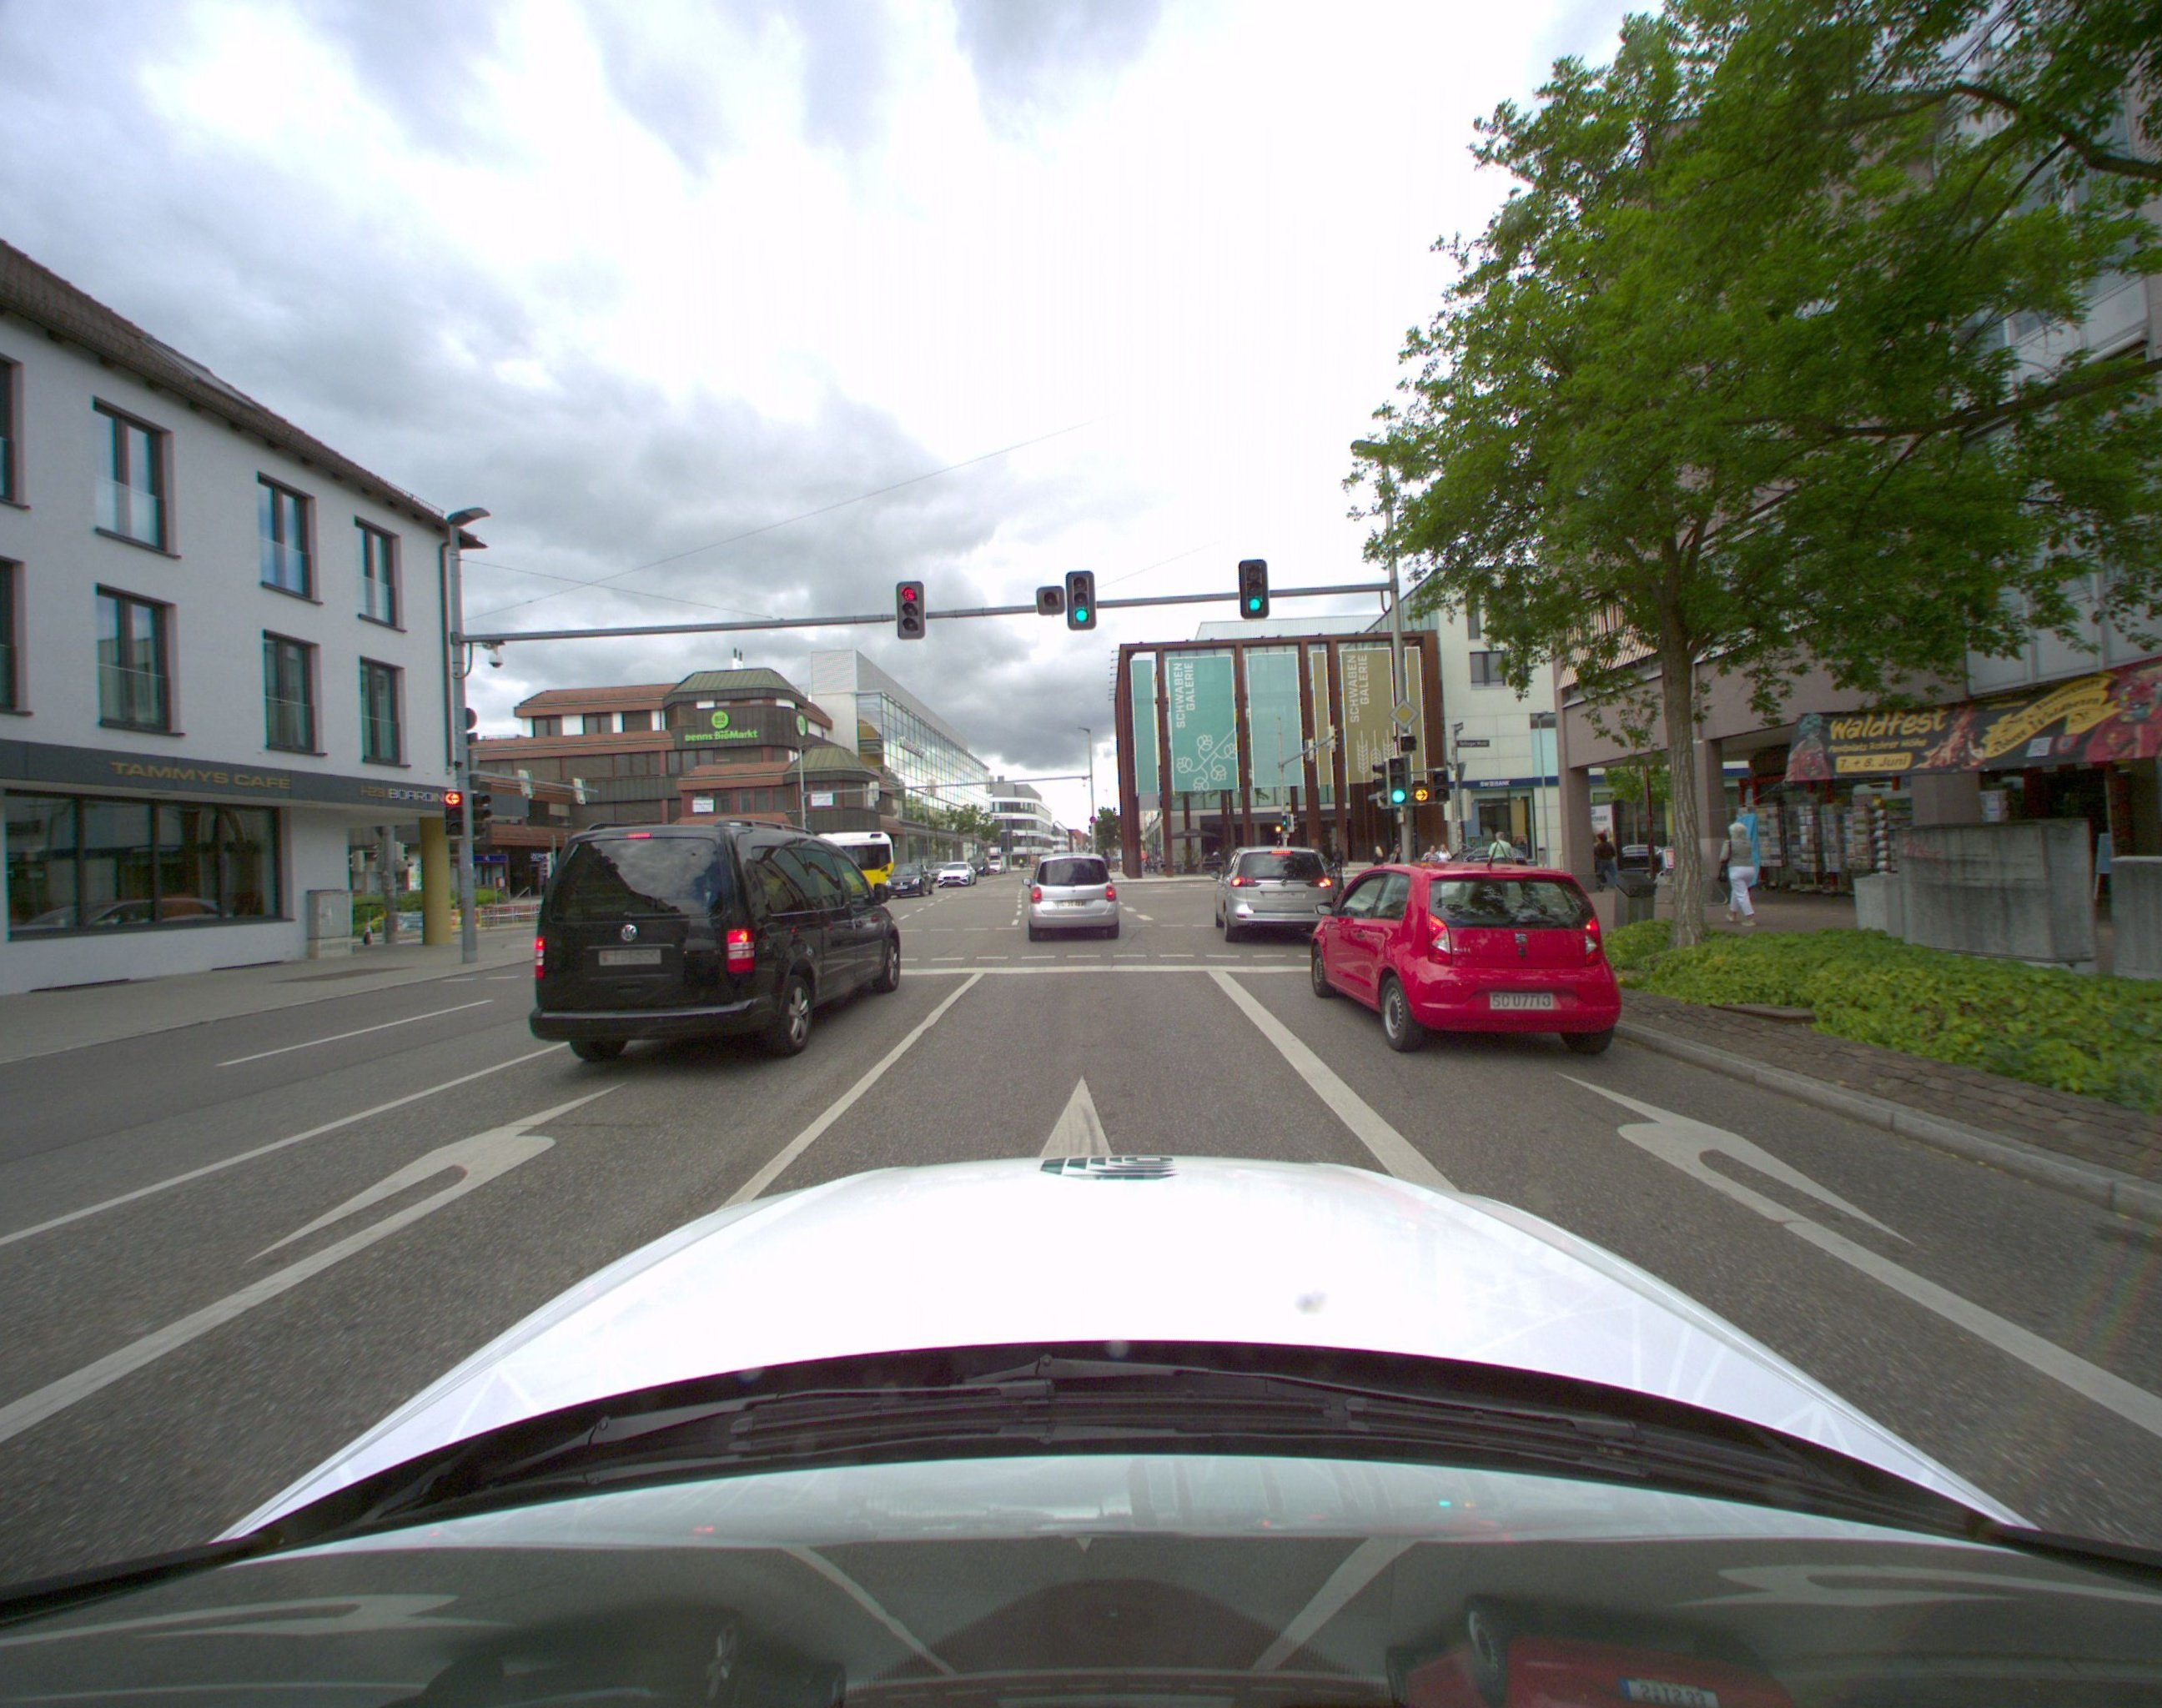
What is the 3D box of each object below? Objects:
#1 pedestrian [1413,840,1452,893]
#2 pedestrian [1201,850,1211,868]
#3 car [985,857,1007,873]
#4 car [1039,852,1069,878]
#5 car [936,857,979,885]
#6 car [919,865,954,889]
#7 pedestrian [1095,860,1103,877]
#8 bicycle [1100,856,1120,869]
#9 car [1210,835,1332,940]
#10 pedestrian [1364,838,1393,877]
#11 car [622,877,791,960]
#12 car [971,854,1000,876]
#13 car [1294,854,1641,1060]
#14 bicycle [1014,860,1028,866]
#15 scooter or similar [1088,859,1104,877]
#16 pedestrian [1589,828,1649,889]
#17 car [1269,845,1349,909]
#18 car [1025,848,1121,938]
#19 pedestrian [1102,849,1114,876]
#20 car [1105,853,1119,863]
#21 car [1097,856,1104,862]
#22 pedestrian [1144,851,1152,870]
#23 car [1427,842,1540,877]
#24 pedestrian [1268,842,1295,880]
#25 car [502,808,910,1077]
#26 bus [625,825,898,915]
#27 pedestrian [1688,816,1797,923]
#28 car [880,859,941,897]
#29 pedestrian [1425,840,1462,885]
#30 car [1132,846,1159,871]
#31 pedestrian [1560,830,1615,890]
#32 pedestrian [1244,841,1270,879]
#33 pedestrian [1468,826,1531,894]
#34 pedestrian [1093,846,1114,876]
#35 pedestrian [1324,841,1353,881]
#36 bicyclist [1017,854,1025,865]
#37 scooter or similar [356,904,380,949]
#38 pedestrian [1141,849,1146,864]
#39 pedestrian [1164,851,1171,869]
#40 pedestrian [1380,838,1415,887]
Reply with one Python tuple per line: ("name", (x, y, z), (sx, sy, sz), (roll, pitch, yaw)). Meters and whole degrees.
("pedestrian", (11.130, 0.386, 25.800), (0.739, 1.626, 0.953), (-3, 0, -2))
("pedestrian", (8.996, 0.355, 58.540), (0.513, 1.208, 0.795), (-2, 1, 0))
("car", (-9.042, 1.151, 87.153), (1.654, 1.465, 4.002), (-3, 0, 2))
("car", (-1.666, 0.663, 51.138), (1.663, 1.554, 3.644), (0, 0, 2))
("car", (-7.244, 0.956, 48.175), (1.737, 1.459, 4.237), (-3, 0, 2))
("car", (-10.842, 1.698, 61.429), (1.752, 1.517, 4.387), (-4, 1, 1))
("pedestrian", (0.988, 0.779, 44.926), (0.360, 0.924, 0.455), (-2, 0, 4))
("bicycle", (2.409, 0.680, 67.831), (1.553, 0.992, 0.753), (-3, 0, 5))
("car", (3.446, 0.541, 15.499), (1.731, 1.701, 4.388), (0, 0, 6))
("pedestrian", (14.031, 0.156, 38.413), (0.876, 1.767, 1.120), (-2, 0, -1))
("car", (-8.378, 1.385, 18.654), (1.862, 1.486, 4.002), (-2, 0, 2))
("car", (-9.295, 1.057, 79.323), (1.858, 1.909, 5.117), (-3, 0, 3))
("car", (3.226, 0.733, 7.619), (1.620, 1.448, 3.644), (0, 0, 2))
("bicycle", (-9.352, 1.417, 127.000), (1.011, 1.018, 3.103), (0, 0, -26))
("scooter or similar", (0.866, 0.799, 45.669), (0.626, 0.961, 0.625), (-2, 0, 35))
("pedestrian", (14.434, 0.120, 21.881), (0.828, 1.584, 1.058), (-2, 0, -3))
("car", (6.545, 0.562, 23.040), (1.836, 1.609, 4.885), (-1, 0, 19))
("car", (-0.071, 0.676, 16.010), (1.663, 1.554, 3.644), (0, 0, 2))
("pedestrian", (1.472, 0.458, 44.939), (0.598, 1.420, 0.583), (-2, 0, 4))
("car", (4.241, 0.517, 112.105), (1.870, 1.335, 4.002), (0, 0, 2))
("car", (4.586, 1.162, 190.336), (1.654, 1.465, 4.002), (-3, 0, 2))
("pedestrian", (4.453, 0.421, 54.307), (0.445, 1.220, 0.607), (-2, 0, 4))
("car", (18.048, 0.231, 36.637), (4.160, 1.404, 1.800), (-2, 0, -1))
("pedestrian", (9.231, 0.327, 37.583), (0.876, 1.681, 1.120), (-2, 0, -1))
("car", (-3.040, 0.599, 7.840), (1.701, 1.820, 4.573), (0, 0, 1))
("bus", (-14.608, 0.536, 39.018), (2.958, 3.327, 12.387), (-5, 0, 35))
("pedestrian", (10.645, 0.237, 13.148), (0.806, 1.626, 1.093), (-3, 0, -1))
("car", (-7.518, 1.005, 36.233), (1.737, 1.459, 3.819), (-3, 0, 2))
("pedestrian", (13.310, 0.305, 29.923), (0.819, 1.595, 1.038), (-2, 0, -2))
("car", (4.640, 0.328, 58.796), (1.733, 1.701, 4.383), (0, 0, 2))
("pedestrian", (13.556, 0.158, 21.818), (0.828, 1.558, 0.968), (-2, 0, -2))
("pedestrian", (8.060, 0.273, 37.332), (0.876, 1.681, 1.120), (-2, 0, -1))
("pedestrian", (11.057, 0.148, 21.540), (1.052, 1.715, 1.110), (-2, 0, 1))
("pedestrian", (1.284, 0.401, 46.174), (0.861, 1.646, 0.685), (-2, 0, 36))
("pedestrian", (11.617, 0.312, 36.783), (0.876, 1.767, 1.120), (-2, 0, -1))
("bicyclist", (-9.329, 0.870, 126.955), (1.011, 1.660, 0.925), (0, -1, -26))
("scooter or similar", (-19.603, 1.989, 22.401), (0.428, 1.159, 1.555), (-2, -3, -40))
("pedestrian", (6.618, 0.218, 86.030), (0.425, 1.549, 0.481), (-2, 0, 0))
("pedestrian", (5.771, 0.406, 54.203), (0.445, 1.220, 0.607), (-2, 0, 6))
("pedestrian", (10.786, 0.276, 27.778), (0.739, 1.626, 0.953), (-3, 0, -2))
